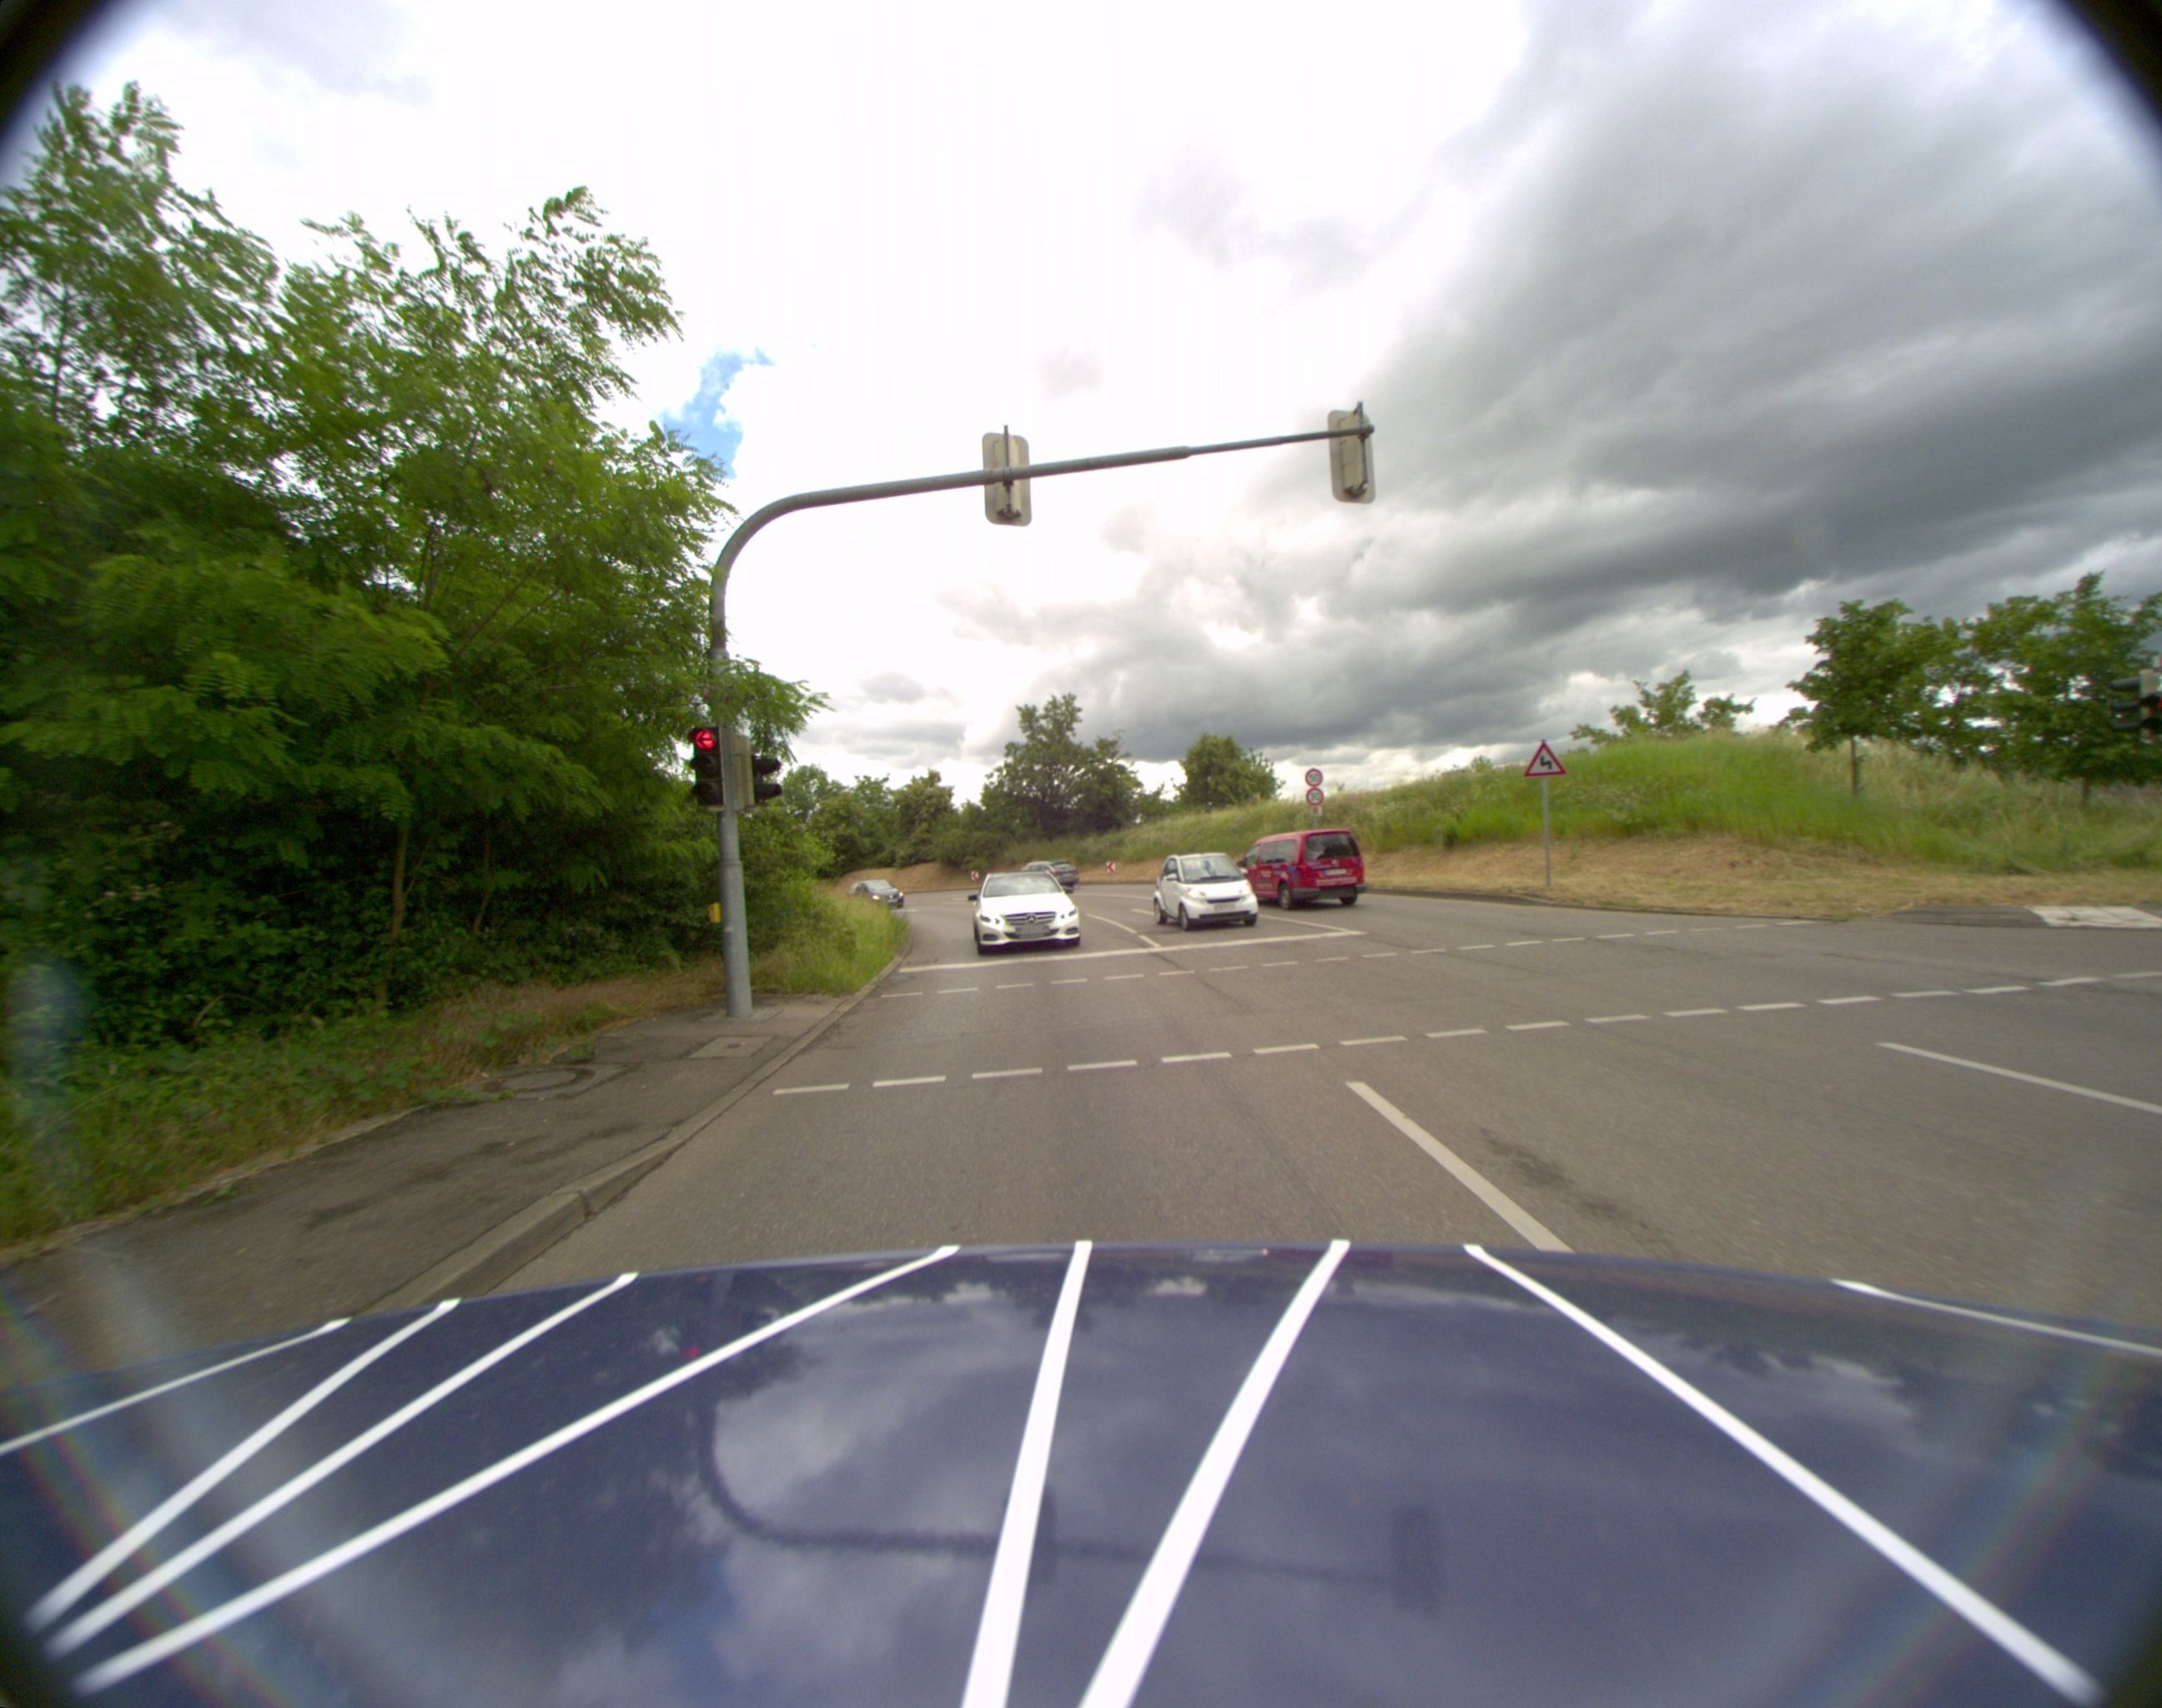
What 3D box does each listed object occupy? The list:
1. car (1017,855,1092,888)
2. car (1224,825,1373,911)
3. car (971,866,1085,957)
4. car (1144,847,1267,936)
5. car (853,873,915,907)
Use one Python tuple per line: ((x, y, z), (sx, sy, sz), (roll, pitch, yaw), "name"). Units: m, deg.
((-1.403, 0.919, 38.300), (1.773, 1.412, 4.412), (-5, 1, -31), "car")
((5.287, 0.327, 19.247), (1.693, 1.815, 4.722), (-3, 0, -9), "car")
((-1.183, 1.009, 15.029), (1.889, 1.414, 3.997), (-3, 0, -9), "car")
((2.540, 0.734, 16.137), (1.580, 1.548, 3.014), (-6, 0, -9), "car")
((-10.066, 1.790, 38.673), (1.827, 1.535, 3.716), (-3, 1, -35), "car")
